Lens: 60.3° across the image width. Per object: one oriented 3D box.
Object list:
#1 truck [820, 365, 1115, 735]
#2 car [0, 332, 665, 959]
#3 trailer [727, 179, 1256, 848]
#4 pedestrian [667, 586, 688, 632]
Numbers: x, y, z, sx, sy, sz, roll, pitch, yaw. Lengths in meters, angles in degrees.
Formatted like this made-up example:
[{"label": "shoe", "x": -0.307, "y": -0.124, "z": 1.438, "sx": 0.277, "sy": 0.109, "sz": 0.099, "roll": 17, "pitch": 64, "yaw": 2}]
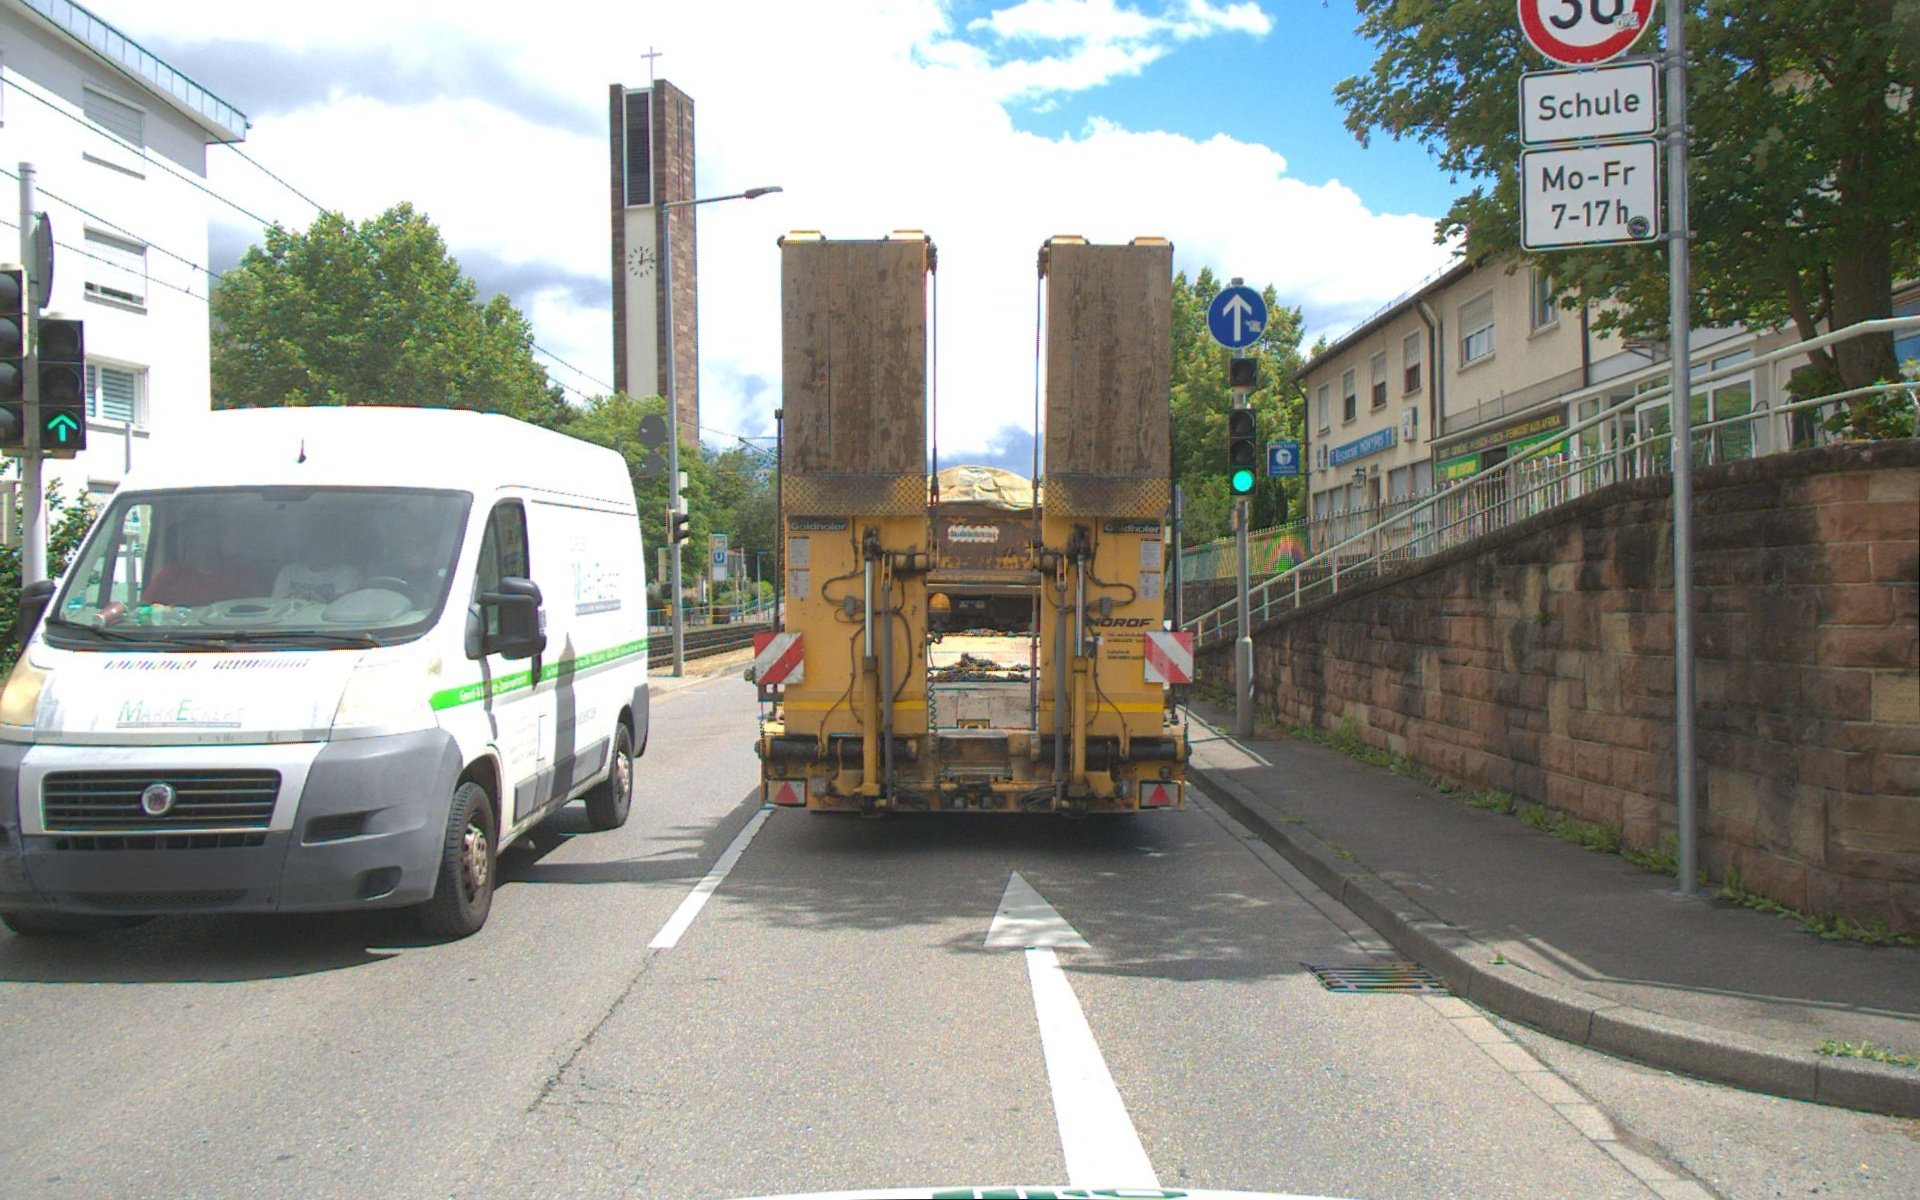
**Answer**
[{"label": "truck", "x": 0.043, "y": -0.510, "z": 18.836, "sx": 2.883, "sy": 3.635, "sz": 4.876, "roll": -1, "pitch": 0, "yaw": -1}, {"label": "car", "x": -3.078, "y": 0.168, "z": 9.102, "sx": 1.972, "sy": 2.401, "sz": 5.381, "roll": 1, "pitch": 0, "yaw": -1}, {"label": "trailer", "x": 0.117, "y": -0.500, "z": 13.487, "sx": 2.885, "sy": 3.664, "sz": 8.682, "roll": -1, "pitch": 0, "yaw": -1}, {"label": "pedestrian", "x": -12.818, "y": 0.399, "z": 75.045, "sx": 0.707, "sy": 2.049, "sz": 0.739, "roll": 1, "pitch": 0, "yaw": 3}]
